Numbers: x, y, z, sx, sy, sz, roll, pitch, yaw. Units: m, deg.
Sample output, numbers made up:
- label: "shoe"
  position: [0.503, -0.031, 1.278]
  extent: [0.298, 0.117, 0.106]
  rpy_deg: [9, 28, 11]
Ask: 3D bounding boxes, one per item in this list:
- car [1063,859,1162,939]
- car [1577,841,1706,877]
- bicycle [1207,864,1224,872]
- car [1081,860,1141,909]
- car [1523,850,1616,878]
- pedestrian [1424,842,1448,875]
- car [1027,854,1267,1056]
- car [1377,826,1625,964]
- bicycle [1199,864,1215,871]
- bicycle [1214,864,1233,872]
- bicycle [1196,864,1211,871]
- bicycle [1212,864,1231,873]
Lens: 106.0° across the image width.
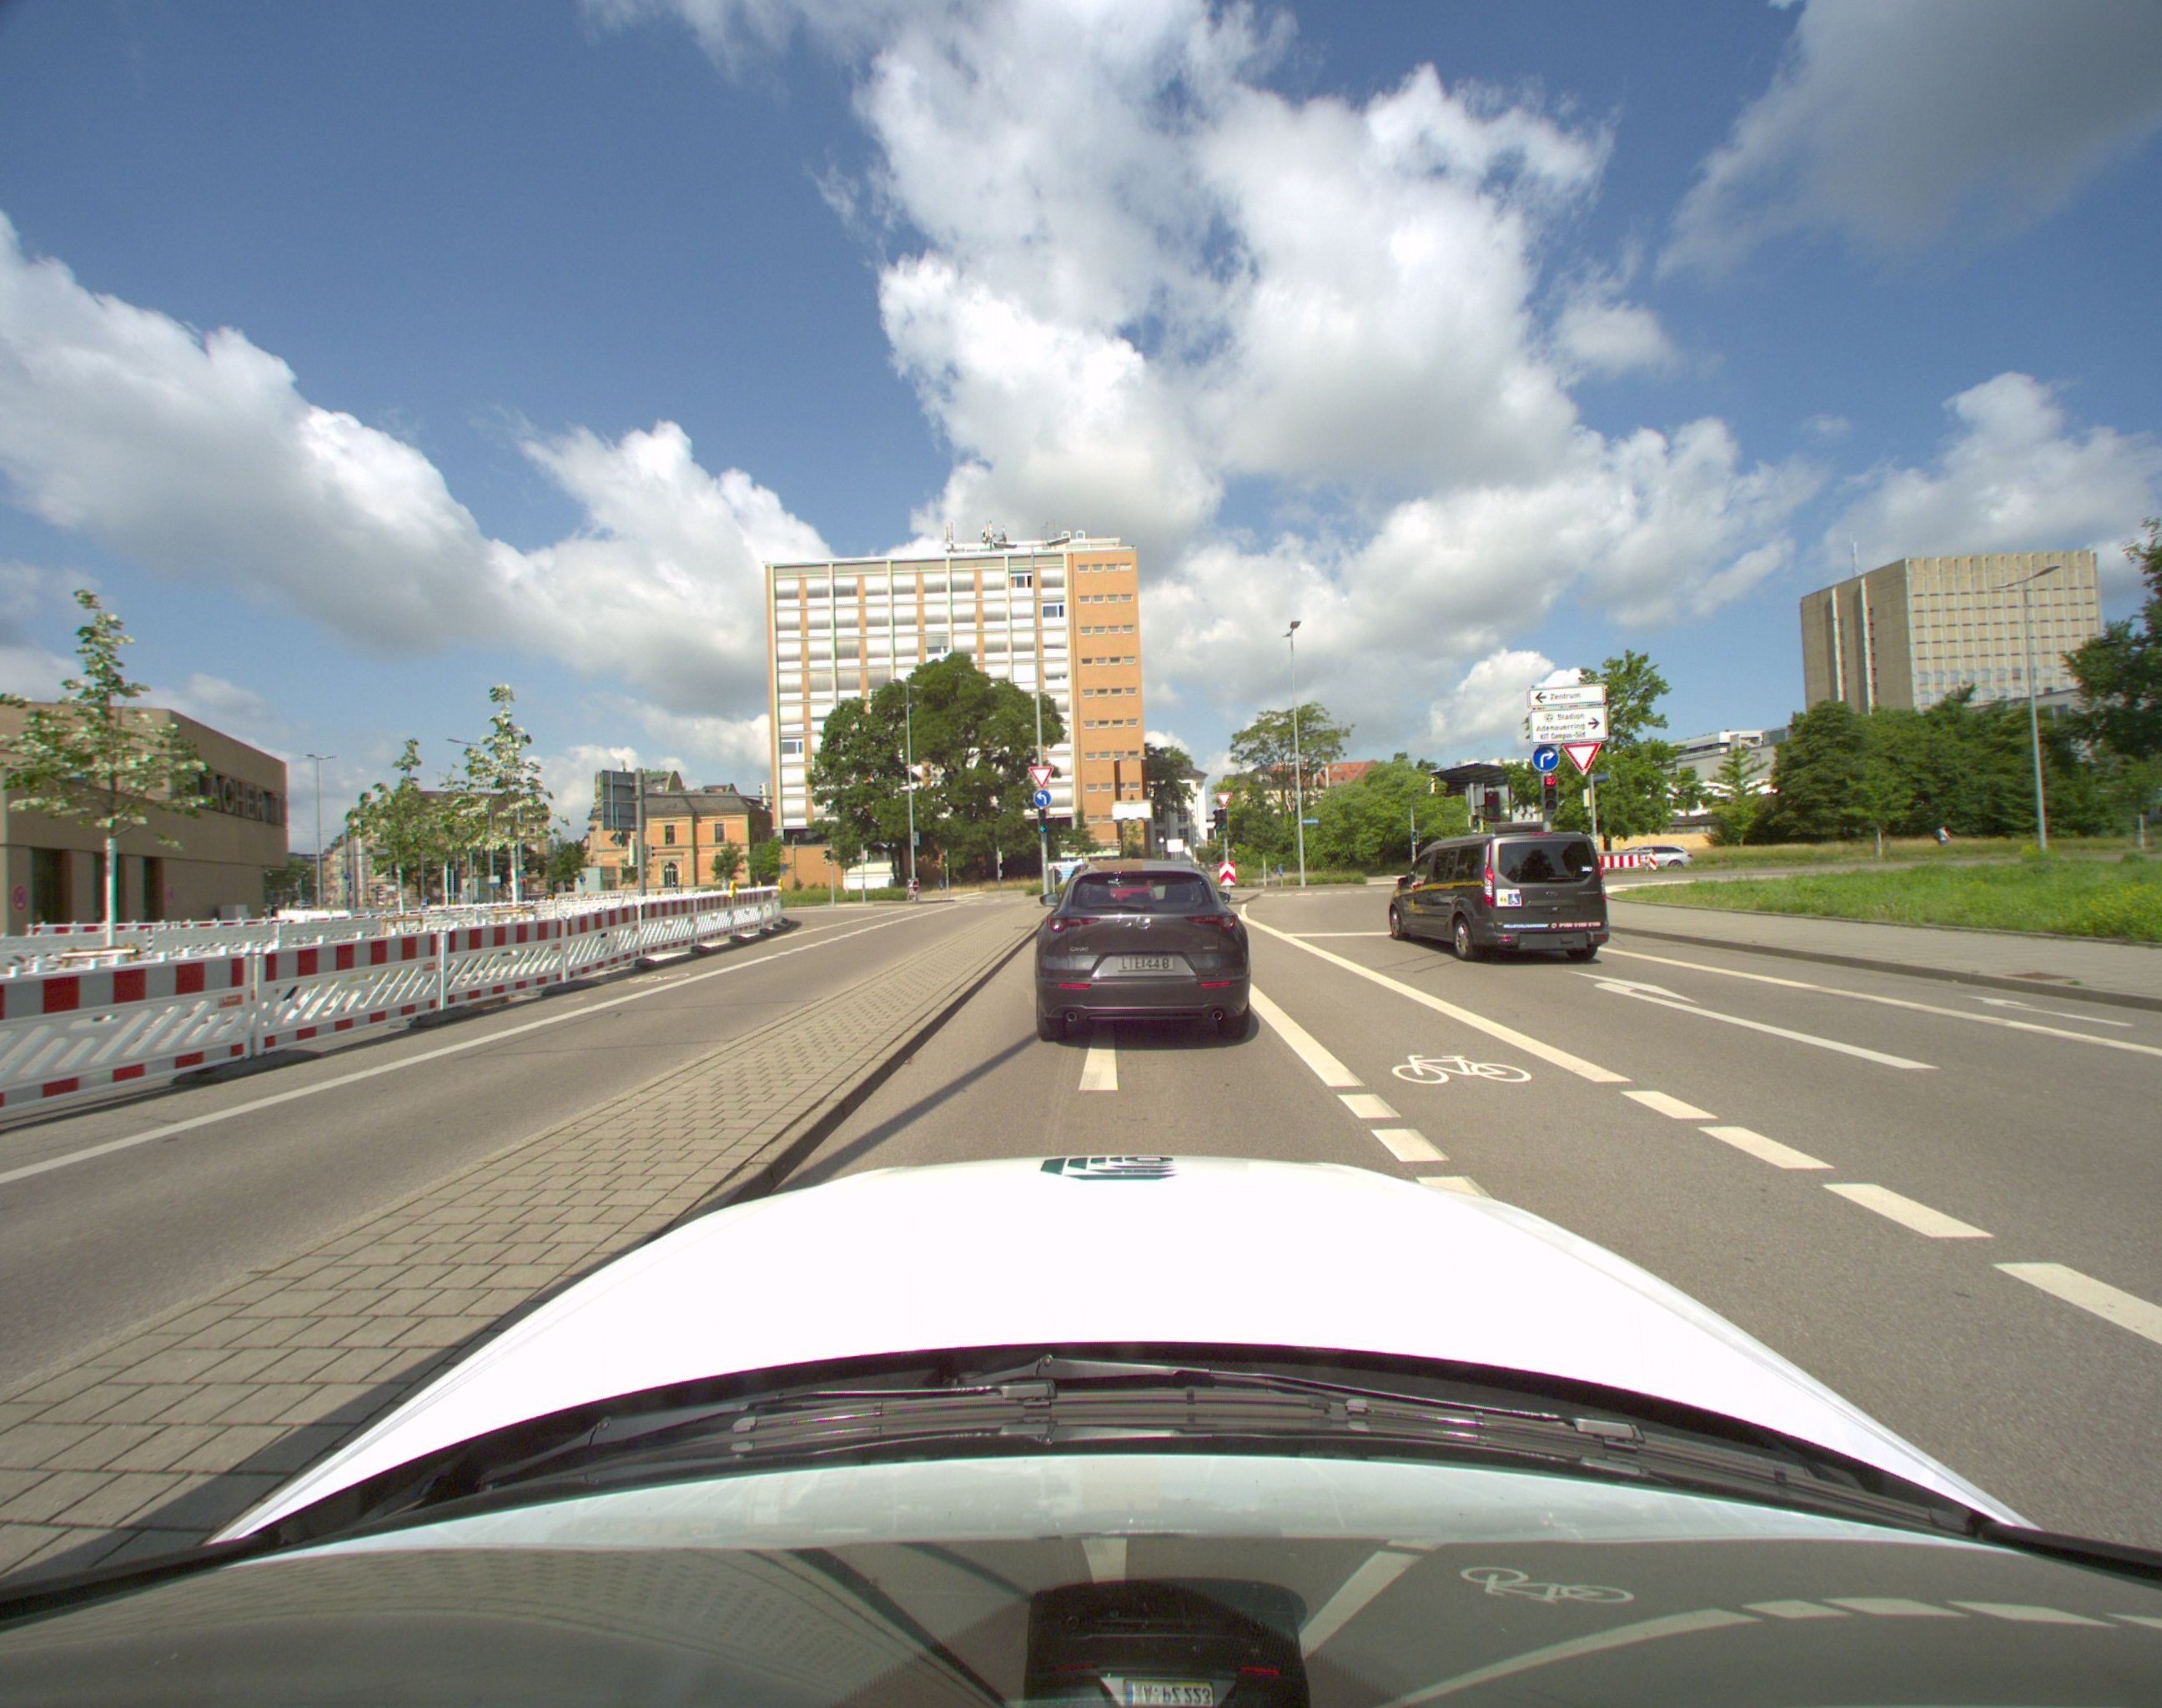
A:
- label: "car"
  position: [0.741, 0.838, 17.046]
  extent: [1.808, 1.439, 4.072]
  rpy_deg: [-1, 0, 4]
- label: "car"
  position: [27.321, 0.283, 39.840]
  extent: [4.739, 1.442, 2.065]
  rpy_deg: [-3, -3, 6]
- label: "bicycle"
  position: [17.225, 1.764, 104.554]
  extent: [2.048, 0.936, 0.804]
  rpy_deg: [-3, -1, 1]
- label: "car"
  position: [1.056, 0.988, 27.751]
  extent: [1.840, 1.472, 4.338]
  rpy_deg: [-3, -1, 3]
- label: "car"
  position: [28.100, 0.581, 46.926]
  extent: [4.128, 1.377, 2.002]
  rpy_deg: [-3, 0, 4]
- label: "pedestrian"
  position: [20.975, 0.302, 48.134]
  extent: [0.696, 1.857, 1.177]
  rpy_deg: [-3, -3, -8]
- label: "car"
  position: [0.559, 0.777, 8.226]
  extent: [1.799, 1.508, 4.206]
  rpy_deg: [0, -1, 2]
- label: "car"
  position: [6.406, 0.567, 13.135]
  extent: [1.840, 1.785, 4.676]
  rpy_deg: [-1, -1, 4]
- label: "bicycle"
  position: [16.891, 1.834, 109.322]
  extent: [2.048, 0.936, 0.804]
  rpy_deg: [-3, -1, 1]
- label: "bicycle"
  position: [17.478, 1.698, 99.917]
  extent: [2.048, 0.936, 0.804]
  rpy_deg: [-3, -1, 1]
- label: "bicycle"
  position: [17.163, 1.898, 114.178]
  extent: [2.048, 0.936, 0.804]
  rpy_deg: [-3, -1, 1]
- label: "bicycle"
  position: [16.735, 1.760, 97.125]
  extent: [2.048, 0.936, 0.804]
  rpy_deg: [-3, -1, 1]
